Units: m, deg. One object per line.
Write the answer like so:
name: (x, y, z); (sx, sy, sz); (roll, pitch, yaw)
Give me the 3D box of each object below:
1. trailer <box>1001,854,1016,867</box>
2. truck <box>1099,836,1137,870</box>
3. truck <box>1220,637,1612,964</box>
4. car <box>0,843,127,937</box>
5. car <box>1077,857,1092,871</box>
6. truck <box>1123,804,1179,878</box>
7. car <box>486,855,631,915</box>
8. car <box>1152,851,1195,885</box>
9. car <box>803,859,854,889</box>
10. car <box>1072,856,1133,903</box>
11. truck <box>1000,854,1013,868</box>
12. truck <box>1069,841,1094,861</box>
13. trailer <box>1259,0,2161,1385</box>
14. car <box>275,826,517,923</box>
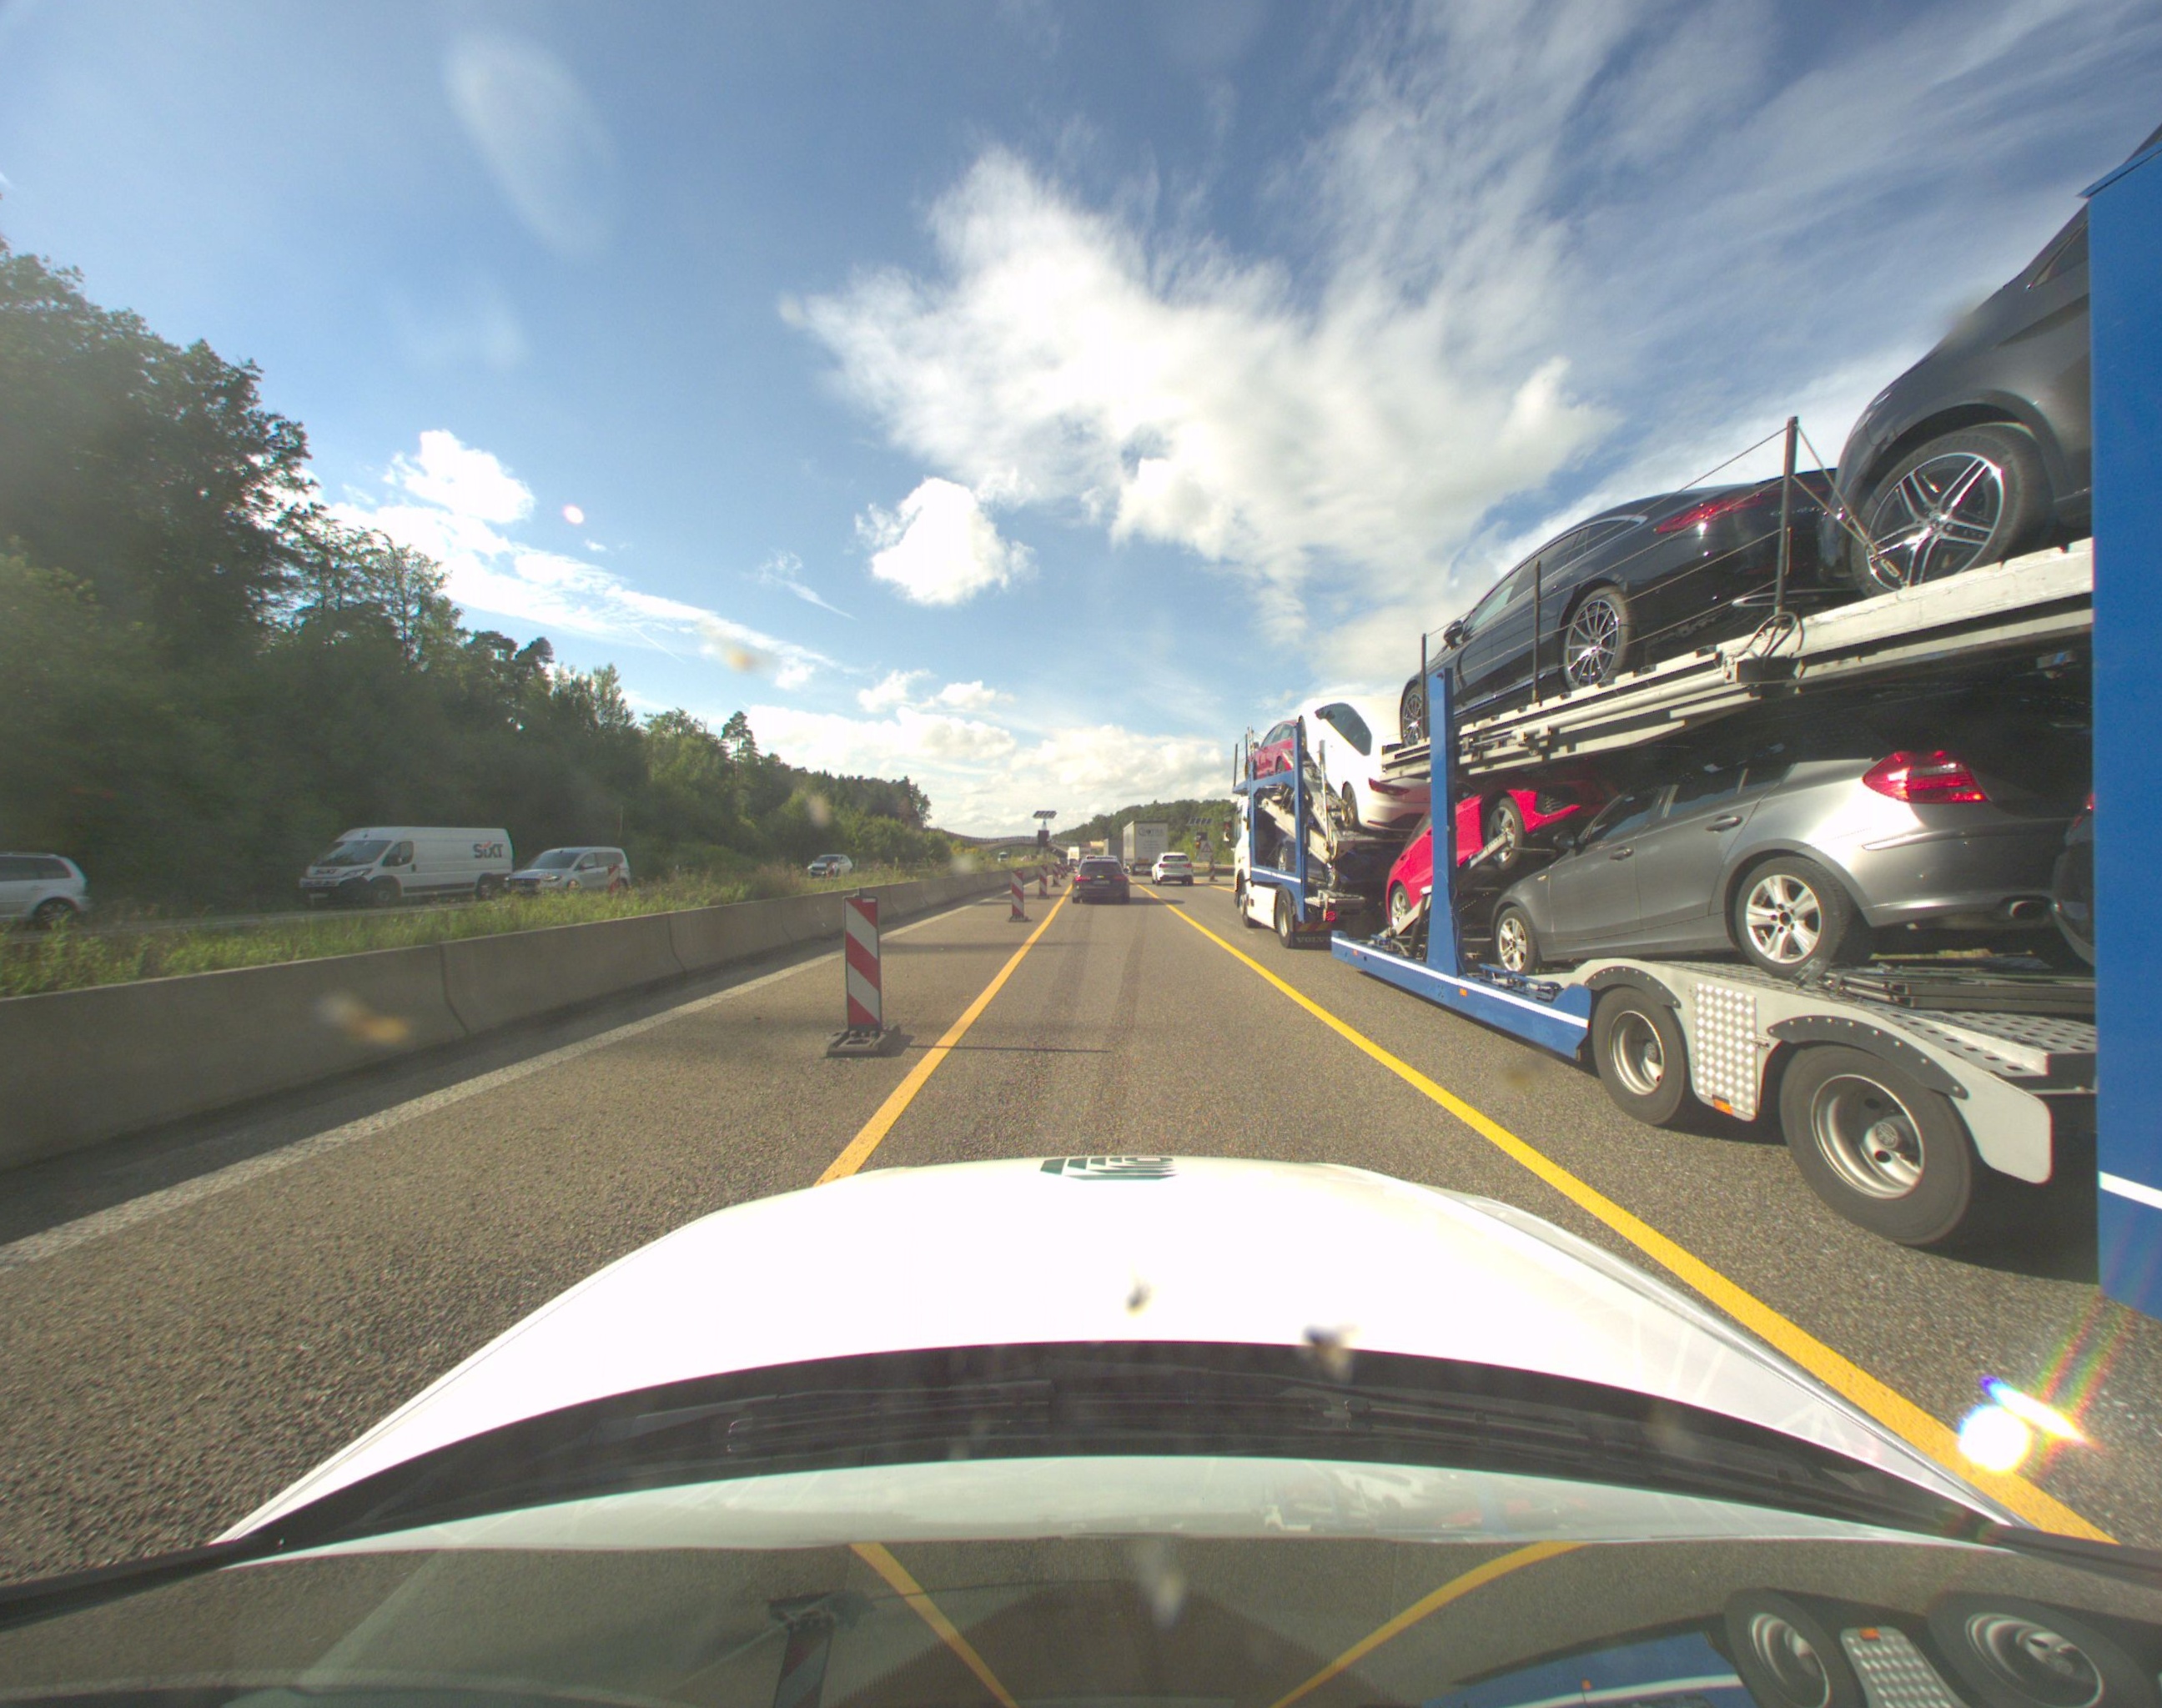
trailer: (-19.665, 1.853, 221.937); (2.792, 3.490, 11.115); (0, -1, 1)
truck: (5.049, -0.086, 112.815); (4.309, 4.600, 11.113); (0, -1, -3)
truck: (4.977, -0.660, 14.444); (3.748, 4.196, 7.950); (0, -1, 0)
car: (-22.163, 0.709, 15.676); (1.853, 1.853, 4.763); (0, -1, 2)
car: (0.581, 1.540, 123.330); (1.990, 2.014, 3.994); (0, -1, -4)
truck: (5.484, -0.849, 67.211); (3.664, 5.353, 16.205); (0, -1, 1)
car: (-16.811, 0.933, 26.499); (1.771, 1.786, 4.366); (0, -1, 2)
car: (4.725, 0.694, 42.045); (1.883, 1.643, 4.019); (0, -1, 2)
car: (-15.919, 1.230, 51.595); (1.771, 1.786, 4.366); (0, -1, 2)
car: (0.732, 0.808, 27.172); (1.883, 1.446, 4.001); (0, -1, 2)
truck: (-19.794, 1.843, 215.822); (2.774, 3.490, 4.941); (0, -1, 1)
truck: (0.097, -0.524, 170.170); (3.652, 3.928, 11.034); (0, -1, -8)
trailer: (4.864, -0.619, 6.191); (3.713, 4.196, 16.228); (0, -1, 1)
car: (-21.280, 0.589, 25.882); (2.020, 2.684, 6.525); (0, -1, 2)
